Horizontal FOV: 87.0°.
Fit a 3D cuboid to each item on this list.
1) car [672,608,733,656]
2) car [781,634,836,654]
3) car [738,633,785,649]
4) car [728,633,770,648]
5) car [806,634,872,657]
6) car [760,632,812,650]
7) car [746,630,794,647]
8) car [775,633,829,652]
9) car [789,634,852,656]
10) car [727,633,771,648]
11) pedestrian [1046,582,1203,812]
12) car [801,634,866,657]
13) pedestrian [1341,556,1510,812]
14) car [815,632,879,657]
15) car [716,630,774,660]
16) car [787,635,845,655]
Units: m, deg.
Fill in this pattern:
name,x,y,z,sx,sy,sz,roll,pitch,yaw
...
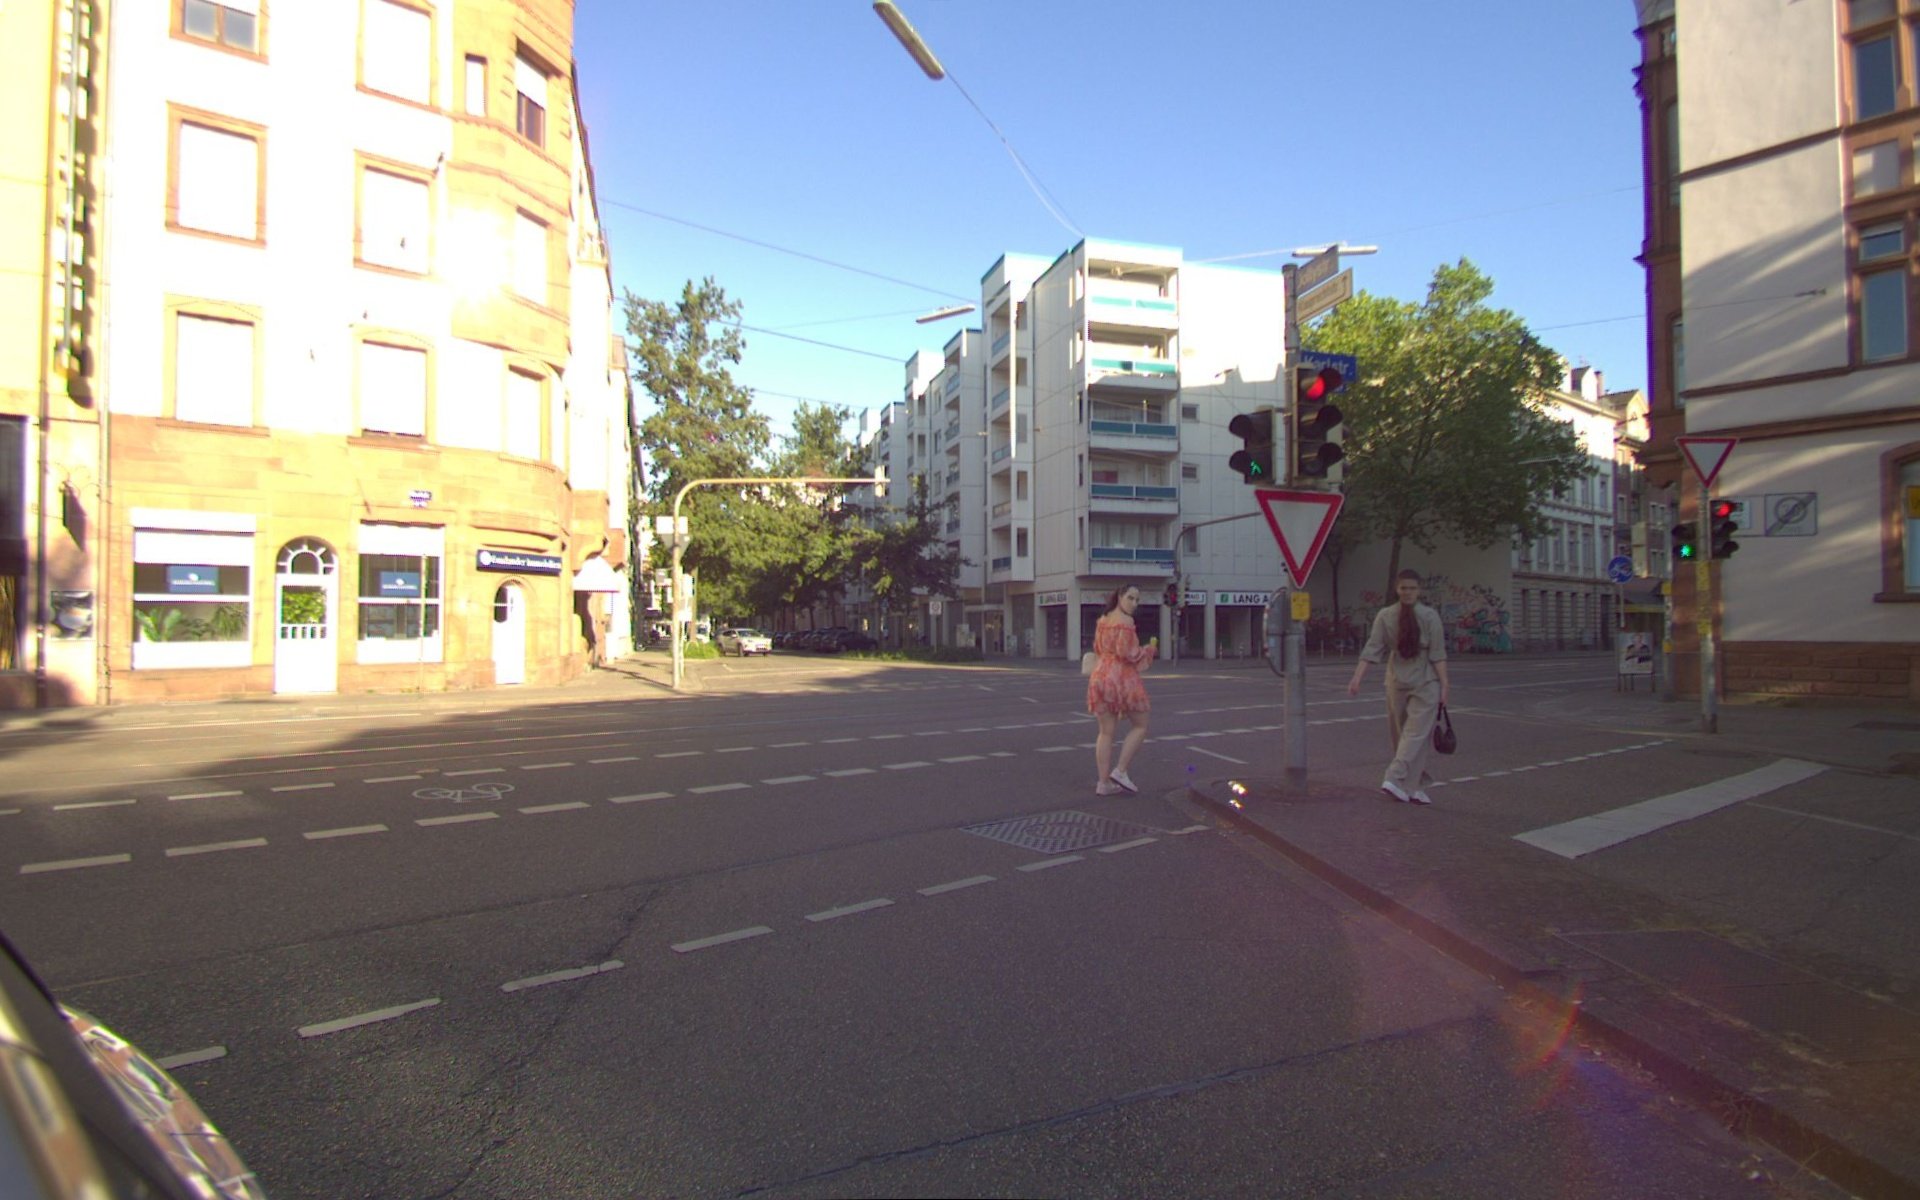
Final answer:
name,x,y,z,sx,sy,sz,roll,pitch,yaw
car,-18.591,2.304,72.668,3.268,3.203,8.109,1,-2,-21
car,-12.649,3.628,84.395,4.230,1.597,2.006,1,-2,-22
car,-19.744,4.058,100.552,4.230,1.597,2.006,1,-2,-22
car,-23.411,4.460,112.248,4.230,1.597,2.006,1,-2,-22
car,-8.447,3.155,70.599,4.230,1.597,2.006,1,-2,-24
car,-15.678,3.685,91.076,4.230,1.597,2.006,1,-2,-22
car,-18.374,3.745,98.045,4.230,1.597,2.006,1,-2,-22
car,-13.548,3.647,86.644,4.230,1.597,2.006,1,-2,-22
car,-10.358,3.307,75.231,4.230,1.597,2.006,1,-2,-24
car,-22.388,4.256,107.310,4.230,1.597,2.006,1,-2,-22
pedestrian,1.337,0.744,8.206,0.869,1.710,0.971,-2,-3,41
car,-9.149,3.290,73.098,4.230,1.597,2.006,1,-2,-24
pedestrian,3.424,0.579,7.437,0.869,1.710,0.971,-2,-3,41
car,-7.630,2.975,68.289,3.930,1.597,2.006,1,-2,-24
car,-12.898,2.662,60.528,1.967,1.763,4.010,1,-2,-35
car,-11.586,3.607,81.510,4.230,1.597,2.006,1,-2,-22
